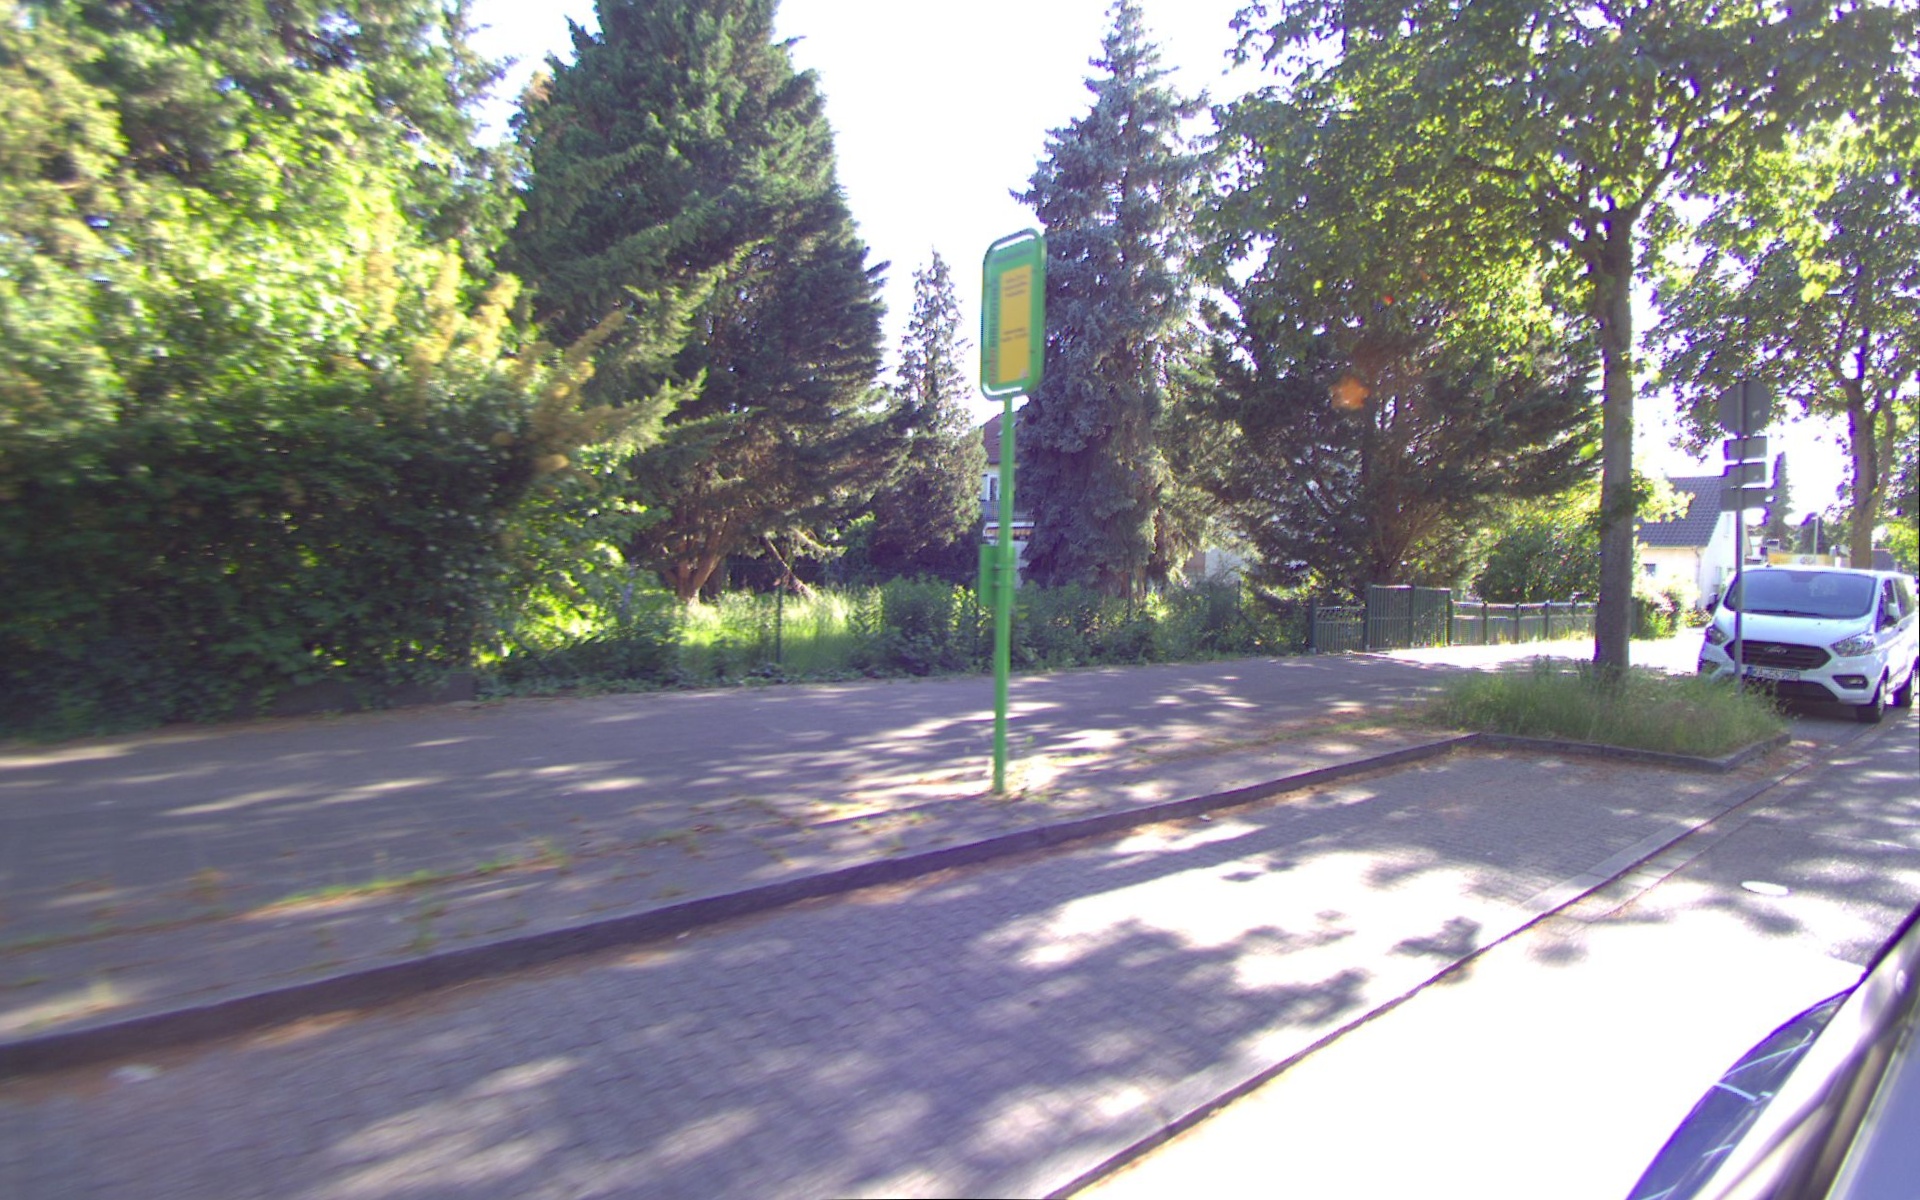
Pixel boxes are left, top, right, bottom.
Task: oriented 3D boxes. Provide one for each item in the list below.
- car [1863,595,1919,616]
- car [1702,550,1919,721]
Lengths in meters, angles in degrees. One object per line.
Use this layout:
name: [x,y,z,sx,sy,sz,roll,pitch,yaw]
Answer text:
car: [67.901,0.384,73.276,1.668,1.457,3.614,0,0,-44]
car: [12.483,0.408,14.556,5.108,2.039,1.995,0,0,-43]
